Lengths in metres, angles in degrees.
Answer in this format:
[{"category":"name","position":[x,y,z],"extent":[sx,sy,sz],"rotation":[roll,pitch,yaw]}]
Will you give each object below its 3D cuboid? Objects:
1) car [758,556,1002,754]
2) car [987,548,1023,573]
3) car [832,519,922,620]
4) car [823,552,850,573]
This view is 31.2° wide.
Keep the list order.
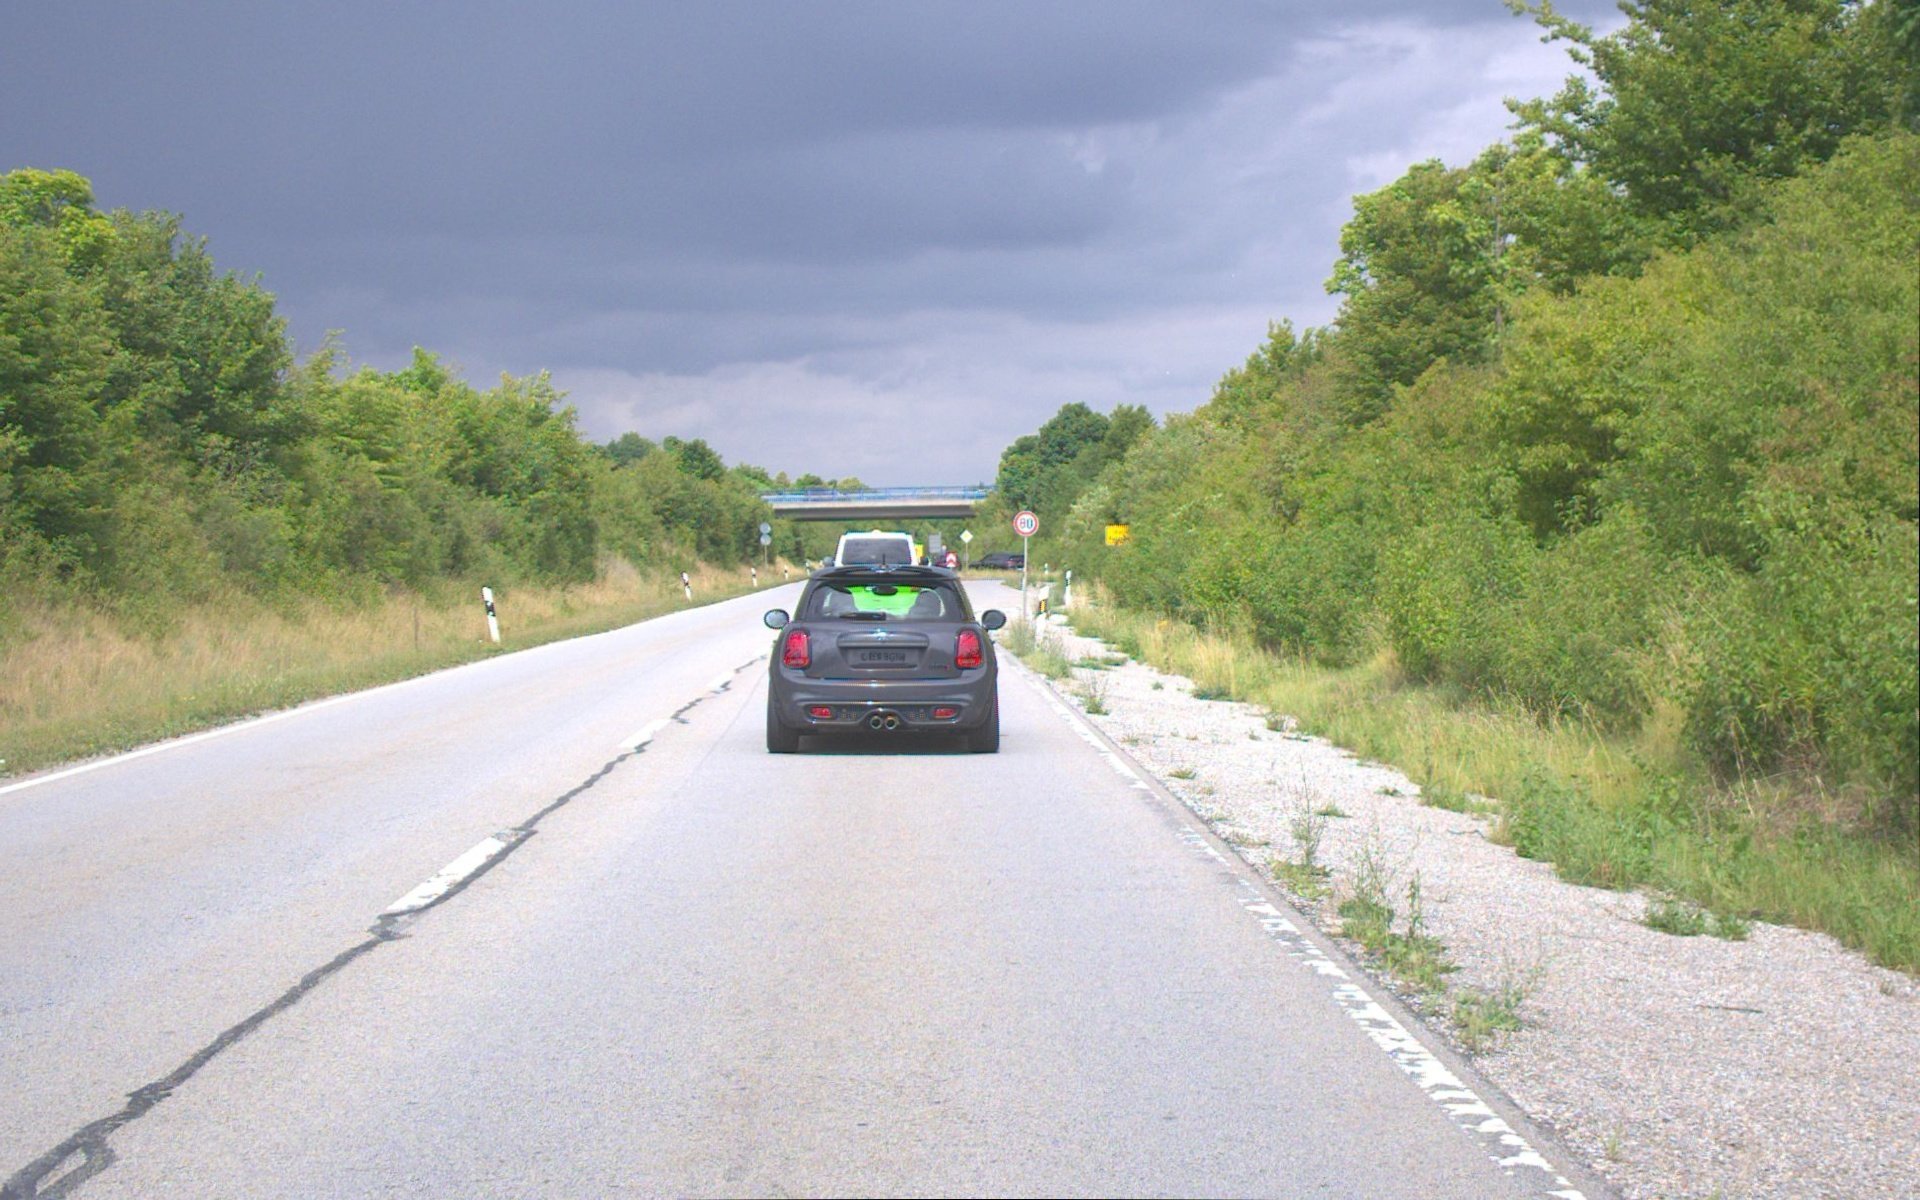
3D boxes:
[{"category":"car","position":[-0.623,0.377,27.020],"extent":[1.756,1.422,4.000],"rotation":[1,1,-1]},{"category":"car","position":[2.841,-2.499,217.403],"extent":[1.993,1.546,4.001],"rotation":[1,1,-3]},{"category":"car","position":[-1.726,-0.650,71.958],"extent":[1.819,2.047,4.000],"rotation":[1,1,-1]},{"category":"car","position":[-8.148,-2.488,226.276],"extent":[1.701,1.326,4.000],"rotation":[-1,1,-1]}]
